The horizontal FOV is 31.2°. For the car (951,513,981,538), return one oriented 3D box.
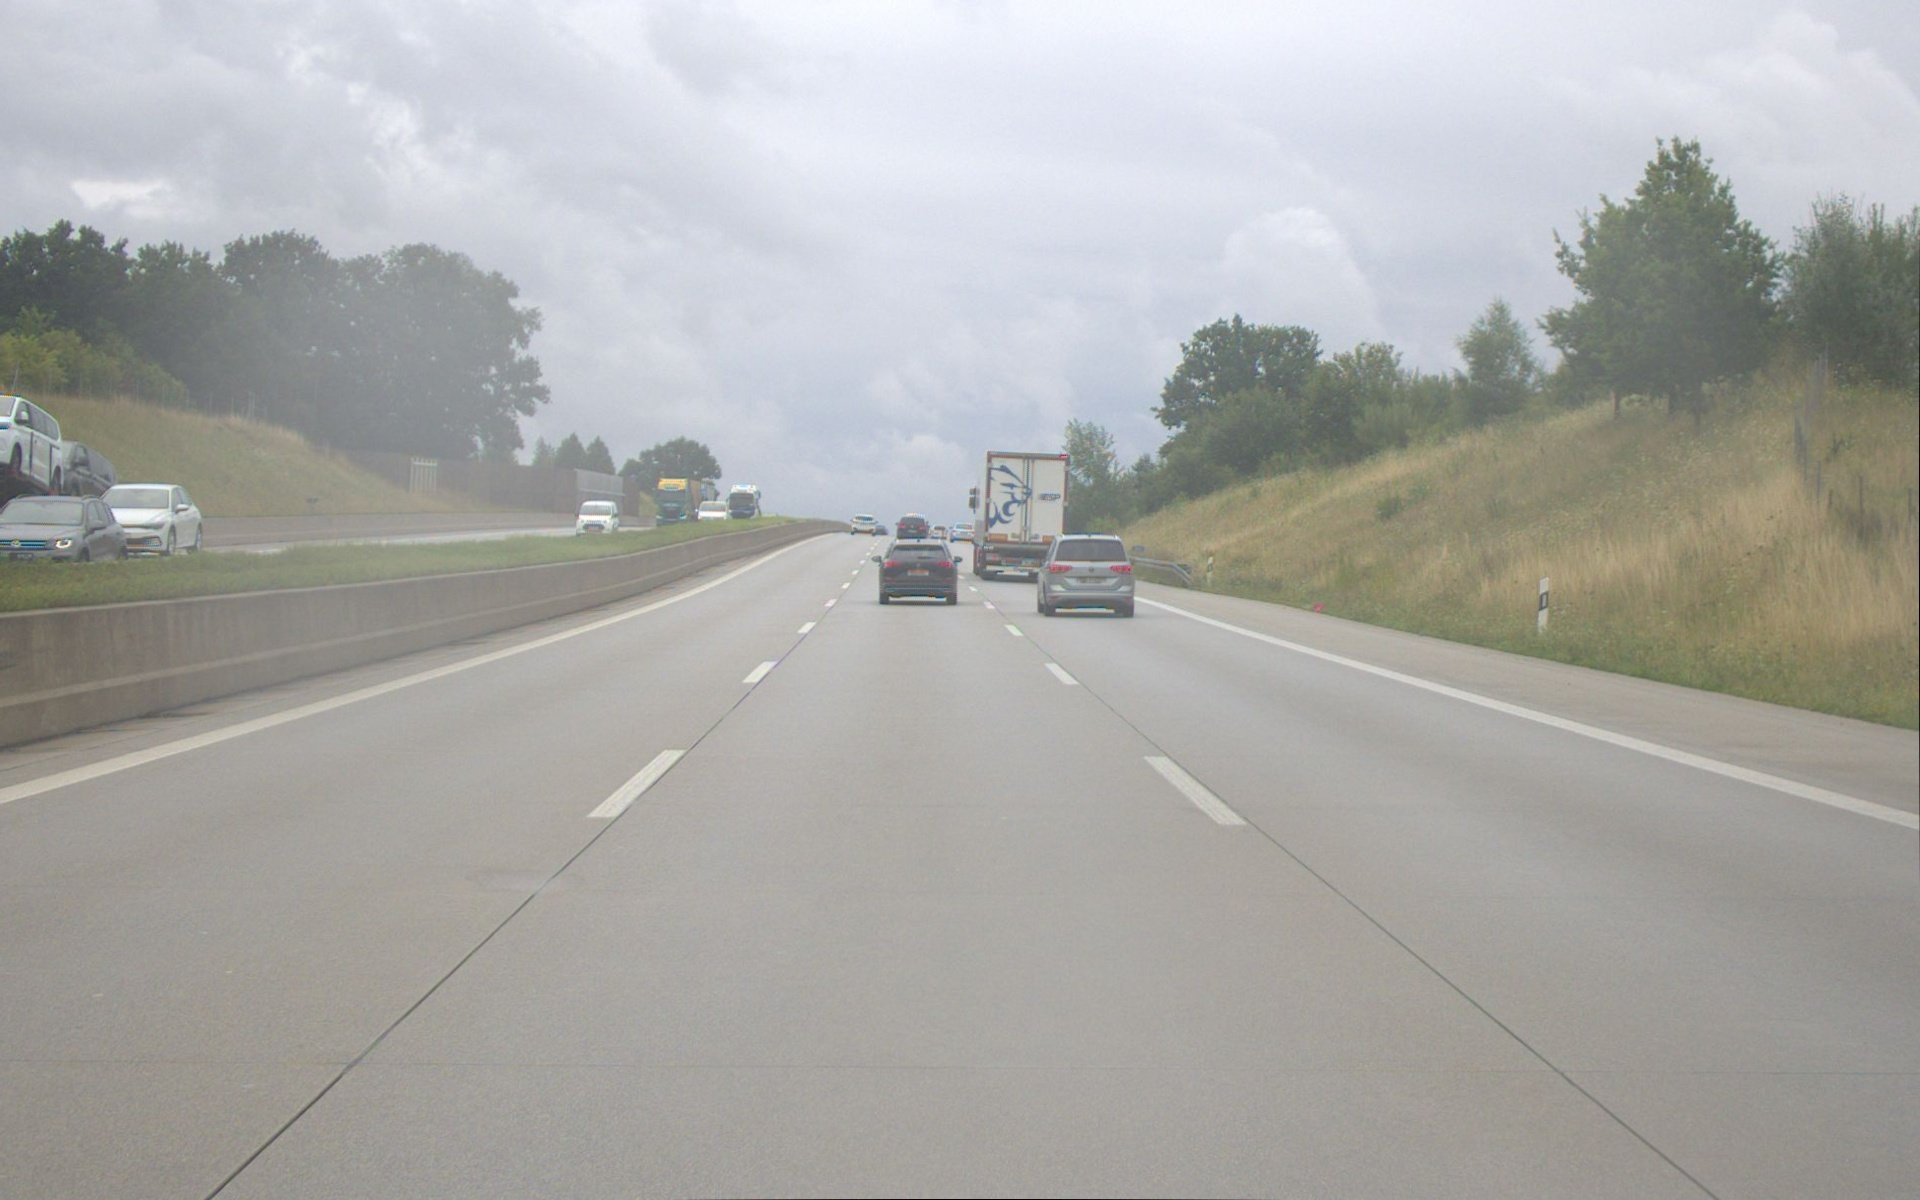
[{"bbox_3d":[0.402,-5.235,242.370,1.993,1.634,4.000,1,0,2],"label":"car"}]

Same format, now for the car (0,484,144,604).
[{"bbox_3d":[-16.119,-0.994,60.633,2.148,2.007,5.749,1,1,-1],"label":"car"}]

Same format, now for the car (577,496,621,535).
[{"bbox_3d":[-17.818,-4.169,169.768,1.762,1.853,4.000,1,1,-1],"label":"car"}]

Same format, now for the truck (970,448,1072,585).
[{"bbox_3d":[1.902,-2.623,110.734,3.017,4.166,8.354,1,0,0],"label":"truck"}]

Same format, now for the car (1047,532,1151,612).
[{"bbox_3d":[2.738,-0.571,68.449,1.993,1.525,4.000,1,1,2],"label":"car"}]

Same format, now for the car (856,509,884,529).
[{"bbox_3d":[-6.667,-6.015,255.542,1.947,1.351,4.259,1,1,1],"label":"car"}]

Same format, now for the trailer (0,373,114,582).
[{"bbox_3d":[-20.692,-2.524,72.445,2.552,4.203,13.990,1,1,-1],"label":"trailer"}]

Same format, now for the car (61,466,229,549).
[{"bbox_3d":[-16.255,-1.881,68.840,2.148,1.546,5.350,1,2,-1],"label":"car"}]

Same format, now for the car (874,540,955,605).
[{"bbox_3d":[-1.051,-0.610,77.126,1.752,1.393,4.484,1,0,-1],"label":"car"}]

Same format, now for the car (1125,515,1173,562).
[{"bbox_3d":[8.318,-2.687,151.483,1.993,2.007,4.000,1,0,2],"label":"car"}]

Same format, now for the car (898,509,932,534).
[{"bbox_3d":[-2.786,-4.815,212.224,1.935,1.370,4.594,1,-1,1],"label":"car"}]
